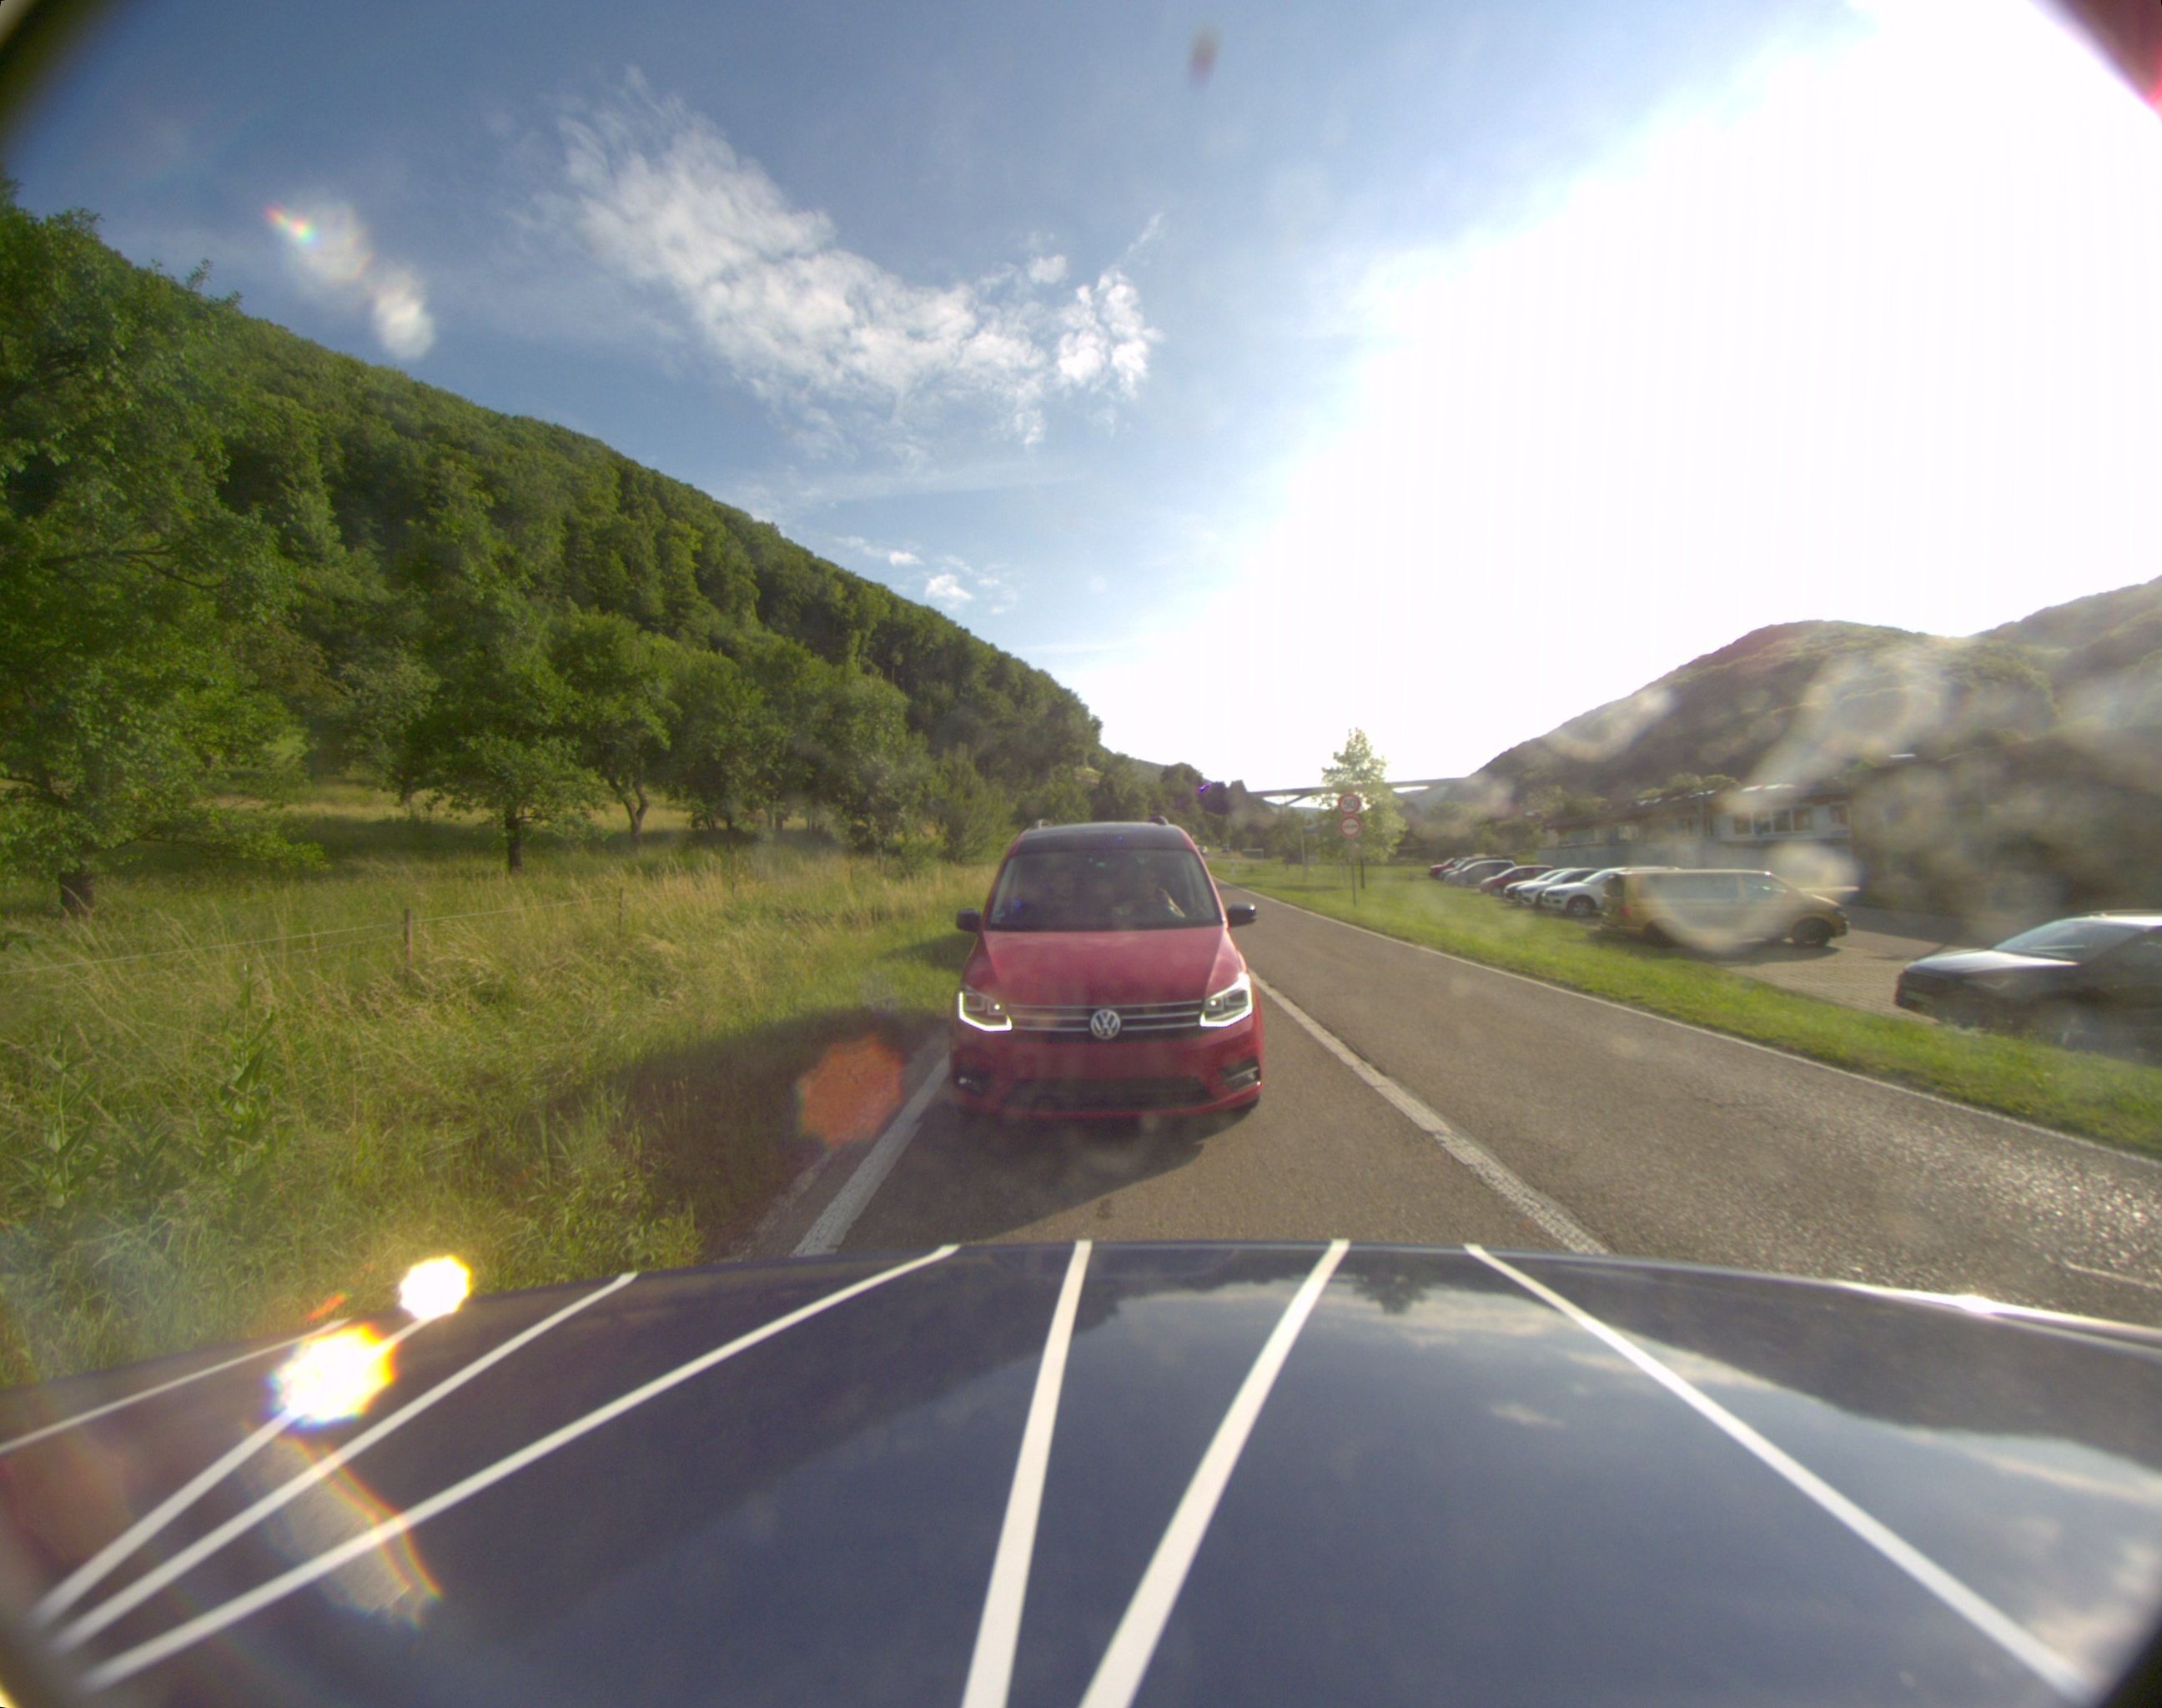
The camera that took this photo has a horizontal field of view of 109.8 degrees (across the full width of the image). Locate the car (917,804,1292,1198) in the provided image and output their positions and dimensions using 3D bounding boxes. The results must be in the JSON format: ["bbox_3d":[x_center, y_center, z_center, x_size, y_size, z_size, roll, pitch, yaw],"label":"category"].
[{"bbox_3d":[0.140,0.724,5.833,1.747,1.849,4.348,-2,0,1],"label":"car"}]

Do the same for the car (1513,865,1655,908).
[{"bbox_3d":[20.226,1.291,30.799,4.437,1.577,2.003,-1,0,20],"label":"car"}]

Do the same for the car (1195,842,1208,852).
[{"bbox_3d":[21.886,-1.224,138.082,1.996,1.707,4.004,-2,0,14],"label":"car"}]

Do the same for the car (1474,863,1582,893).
[{"bbox_3d":[22.730,1.208,38.829,4.437,1.443,2.003,-1,0,20],"label":"car"}]

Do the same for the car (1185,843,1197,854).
[{"bbox_3d":[18.128,-0.884,124.964,1.677,1.636,3.350,-3,-2,12],"label":"car"}]

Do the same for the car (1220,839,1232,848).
[{"bbox_3d":[31.787,-2.227,166.568,1.908,1.893,4.005,-2,1,20],"label":"car"}]

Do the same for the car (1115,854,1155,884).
[{"bbox_3d":[2.802,0.755,40.089,1.798,1.464,4.283,-2,0,1],"label":"car"}]

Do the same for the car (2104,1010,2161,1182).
[{"bbox_3d":[12.080,2.247,5.963,4.645,1.488,1.915,-1,0,15],"label":"car"}]

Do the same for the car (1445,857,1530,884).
[{"bbox_3d":[25.834,1.065,48.475,4.437,1.573,2.003,-2,0,18],"label":"car"}]

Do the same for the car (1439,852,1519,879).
[{"bbox_3d":[27.632,0.795,52.936,4.665,1.752,2.003,-1,0,18],"label":"car"}]

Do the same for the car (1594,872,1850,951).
[{"bbox_3d":[16.299,1.408,19.652,4.653,1.802,2.003,-1,0,20],"label":"car"}]

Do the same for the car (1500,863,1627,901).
[{"bbox_3d":[21.436,1.235,33.954,4.437,1.573,2.003,-1,0,18],"label":"car"}]

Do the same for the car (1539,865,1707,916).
[{"bbox_3d":[19.350,1.296,27.402,4.545,1.691,2.003,-1,0,20],"label":"car"}]

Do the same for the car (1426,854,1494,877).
[{"bbox_3d":[28.922,0.879,58.109,4.437,1.709,2.003,-1,0,18],"label":"car"}]

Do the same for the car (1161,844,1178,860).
[{"bbox_3d":[11.118,-0.201,95.319,1.797,1.725,4.288,-2,-2,10],"label":"car"}]

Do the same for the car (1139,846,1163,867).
[{"bbox_3d":[6.447,0.169,69.422,1.911,1.676,4.001,-2,2,9],"label":"car"}]

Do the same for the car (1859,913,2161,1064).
[{"bbox_3d":[13.549,1.692,9.945,4.289,1.628,1.915,-3,0,15],"label":"car"}]
